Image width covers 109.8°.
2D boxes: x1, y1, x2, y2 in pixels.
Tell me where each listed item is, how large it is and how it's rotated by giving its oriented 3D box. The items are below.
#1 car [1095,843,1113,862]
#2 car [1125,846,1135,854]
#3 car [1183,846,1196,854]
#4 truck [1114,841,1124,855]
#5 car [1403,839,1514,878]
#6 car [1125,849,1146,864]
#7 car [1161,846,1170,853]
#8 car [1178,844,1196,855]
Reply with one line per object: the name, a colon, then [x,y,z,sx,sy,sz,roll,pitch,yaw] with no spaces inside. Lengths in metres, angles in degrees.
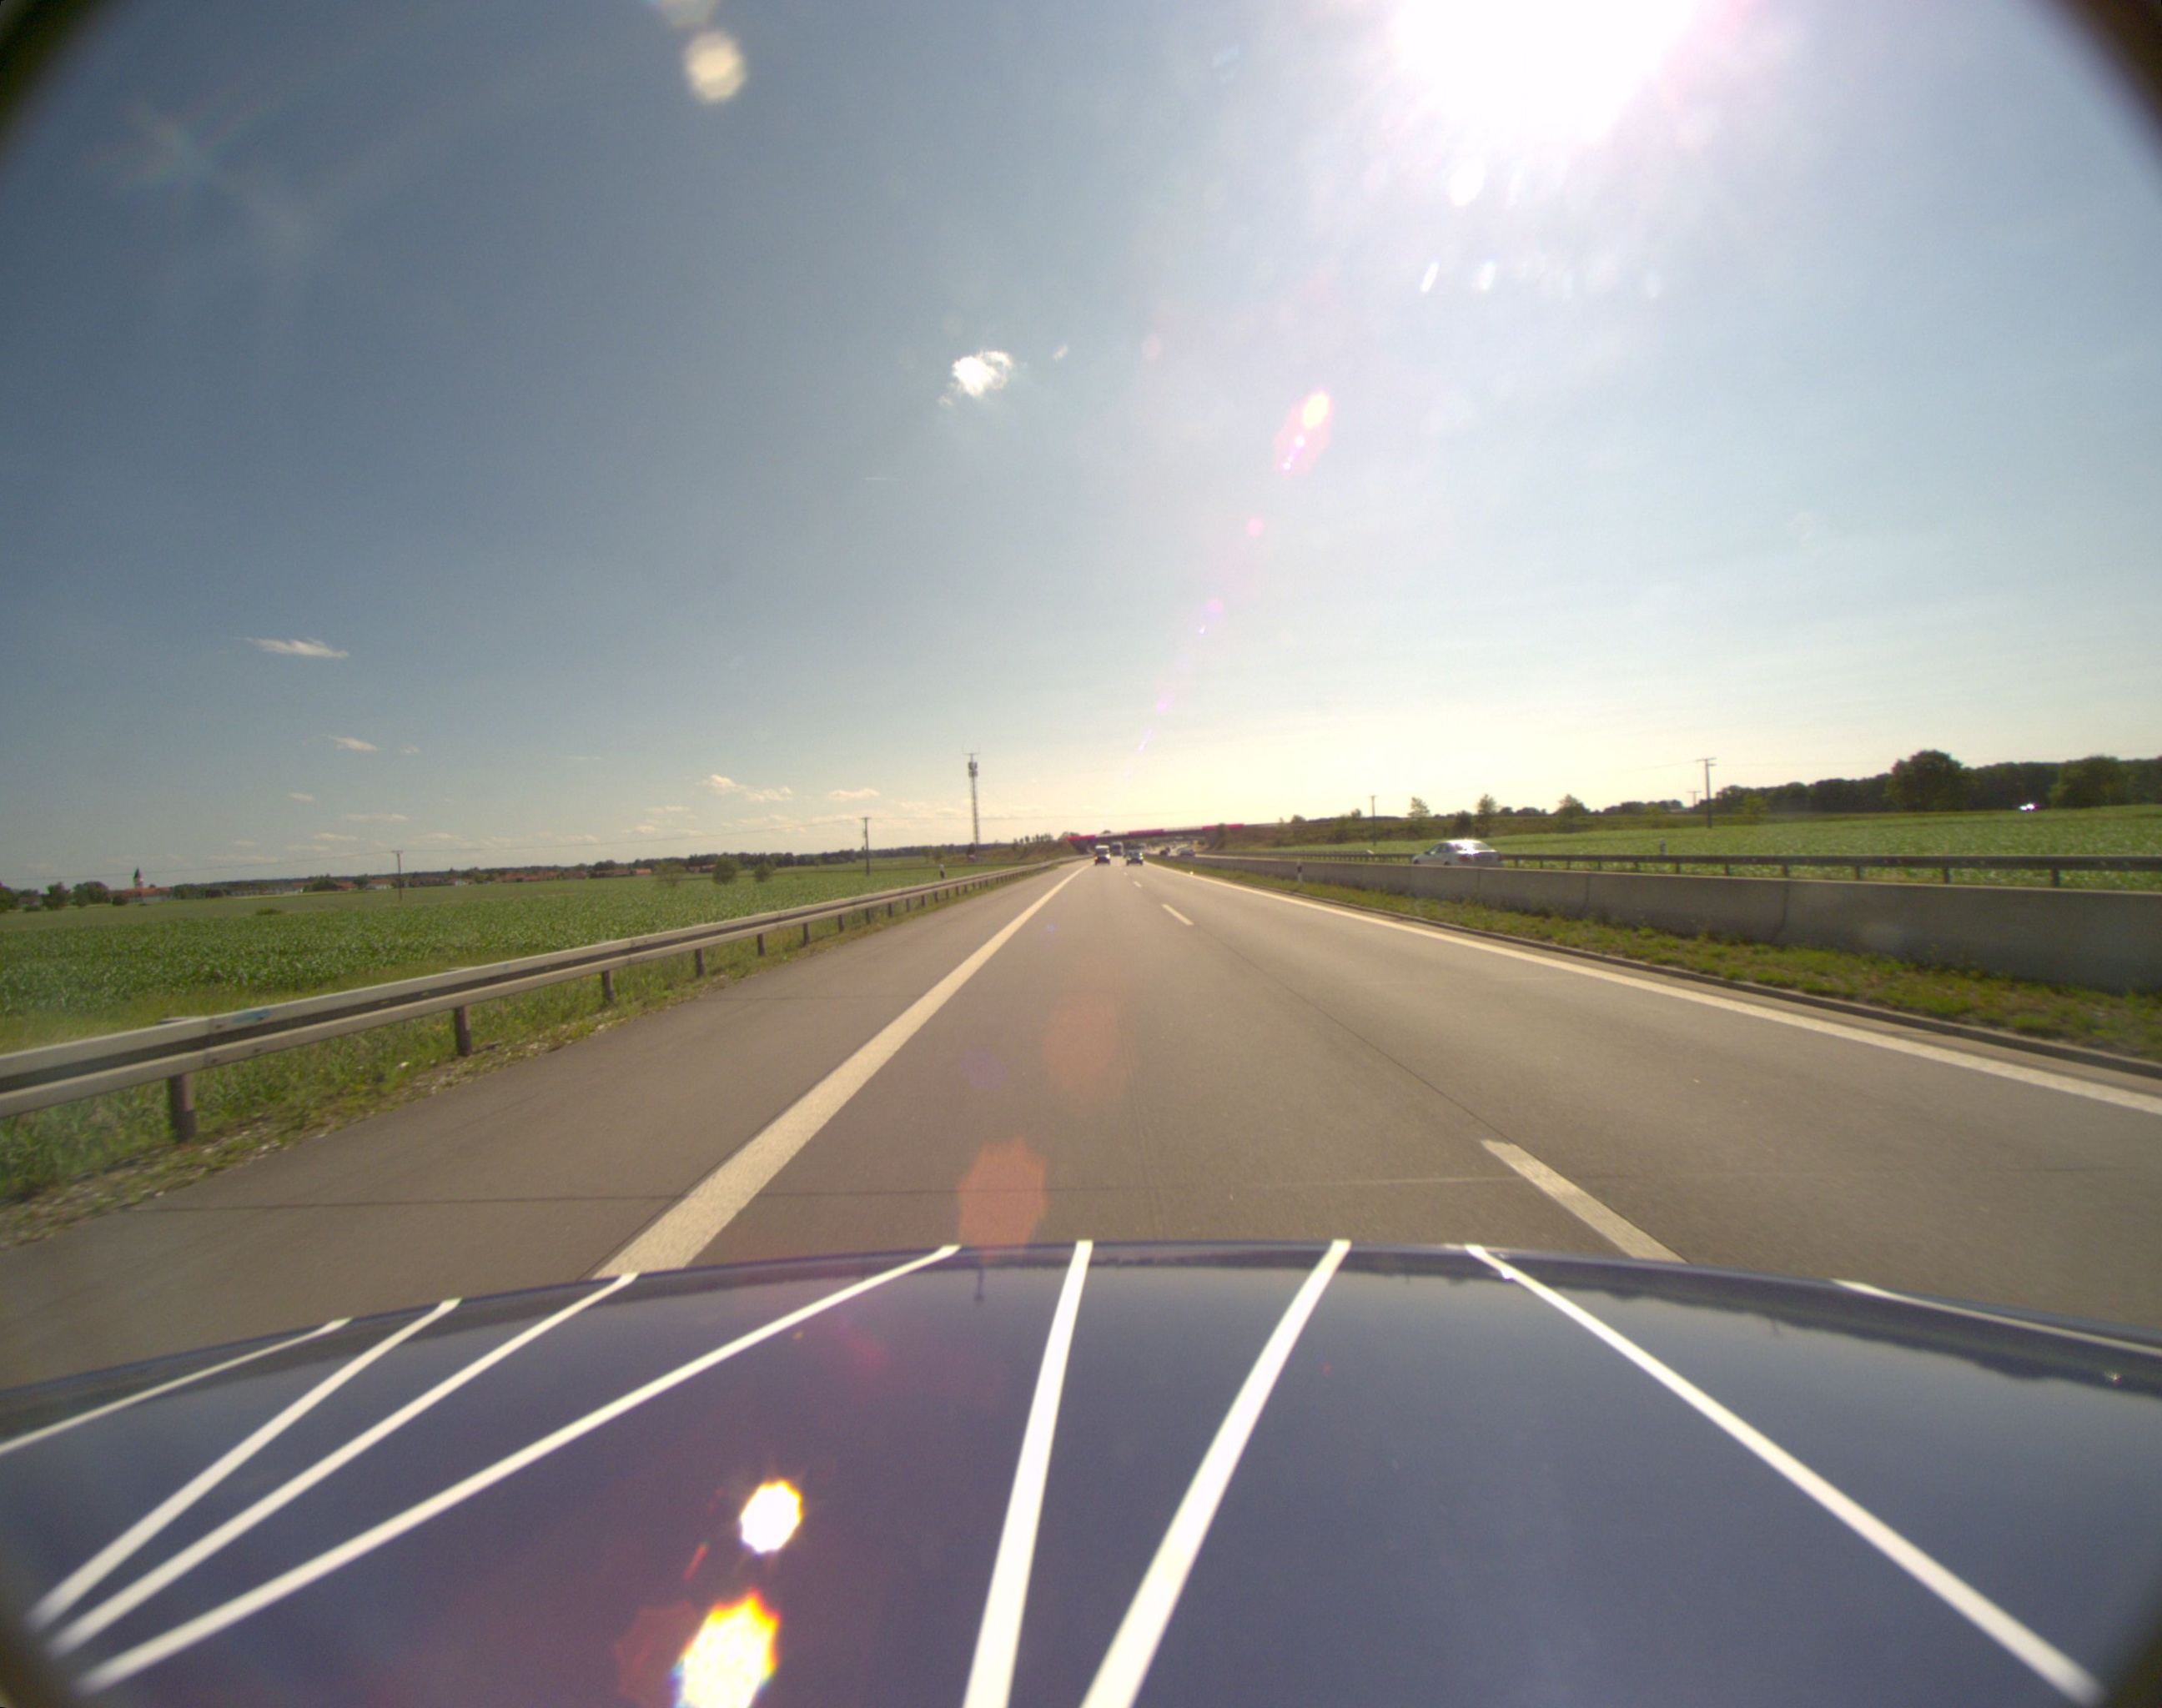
car: [2.919,-0.200,94.808,2.030,2.225,4.818,-2,1,3]
car: [10.516,-0.869,164.434,2.030,1.600,4.821,-3,-2,3]
car: [19.418,-0.779,135.686,1.827,1.357,4.664,-1,0,3]
truck: [11.125,-1.705,222.244,2.762,3.793,7.517,-3,1,2]
car: [14.820,0.150,30.225,1.827,1.357,5.295,-1,0,0]
car: [6.112,0.230,85.687,2.030,1.600,4.817,-2,1,0]
car: [18.658,-0.990,168.413,1.827,1.357,5.199,-1,0,4]
car: [14.001,-0.550,100.691,1.827,1.357,4.660,-1,0,0]
